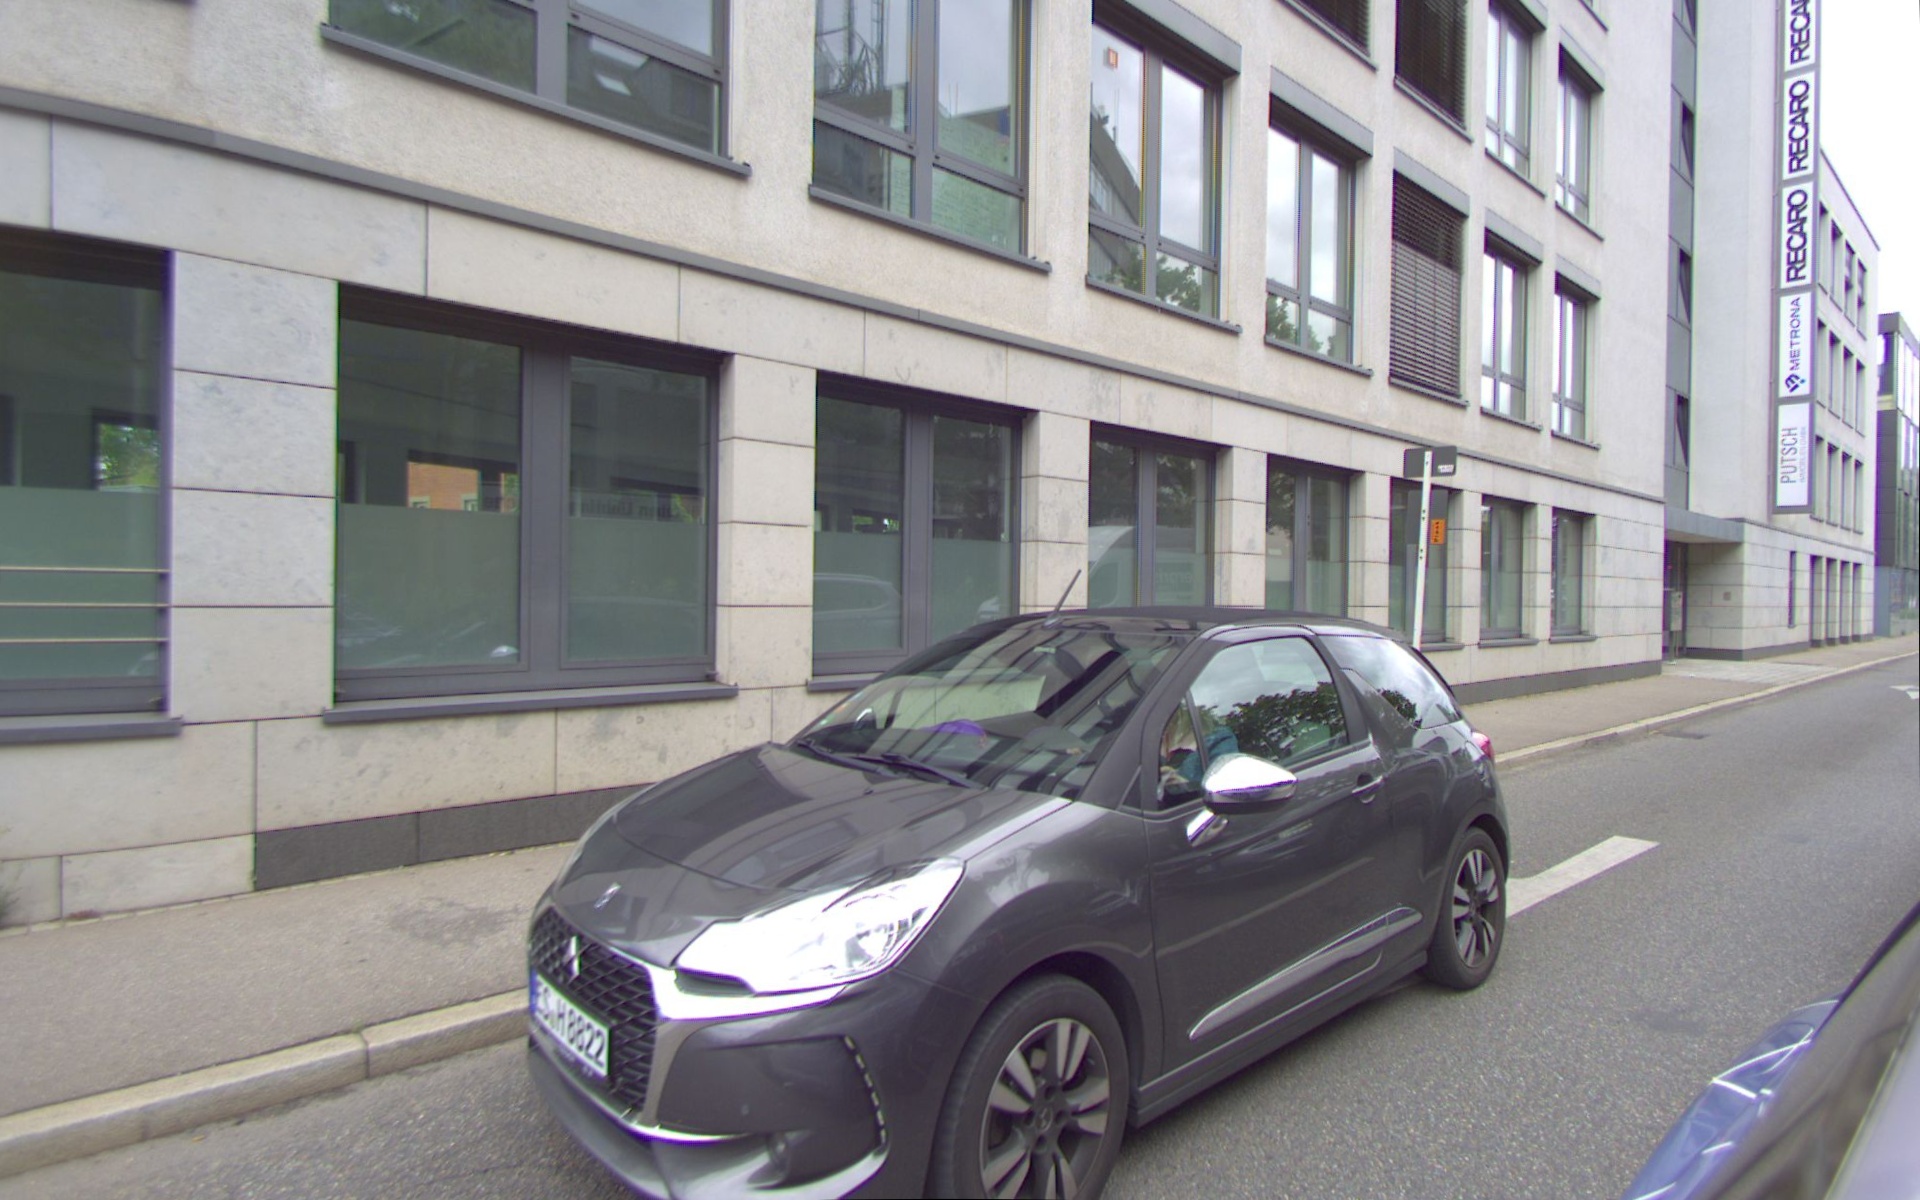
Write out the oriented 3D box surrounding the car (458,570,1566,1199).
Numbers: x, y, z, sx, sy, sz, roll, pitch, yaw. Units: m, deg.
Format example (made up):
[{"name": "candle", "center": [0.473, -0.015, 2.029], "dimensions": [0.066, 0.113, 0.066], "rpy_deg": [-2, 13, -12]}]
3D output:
[{"name": "car", "center": [0.568, 0.697, 3.674], "dimensions": [3.992, 1.479, 1.703], "rpy_deg": [0, -1, -42]}]
